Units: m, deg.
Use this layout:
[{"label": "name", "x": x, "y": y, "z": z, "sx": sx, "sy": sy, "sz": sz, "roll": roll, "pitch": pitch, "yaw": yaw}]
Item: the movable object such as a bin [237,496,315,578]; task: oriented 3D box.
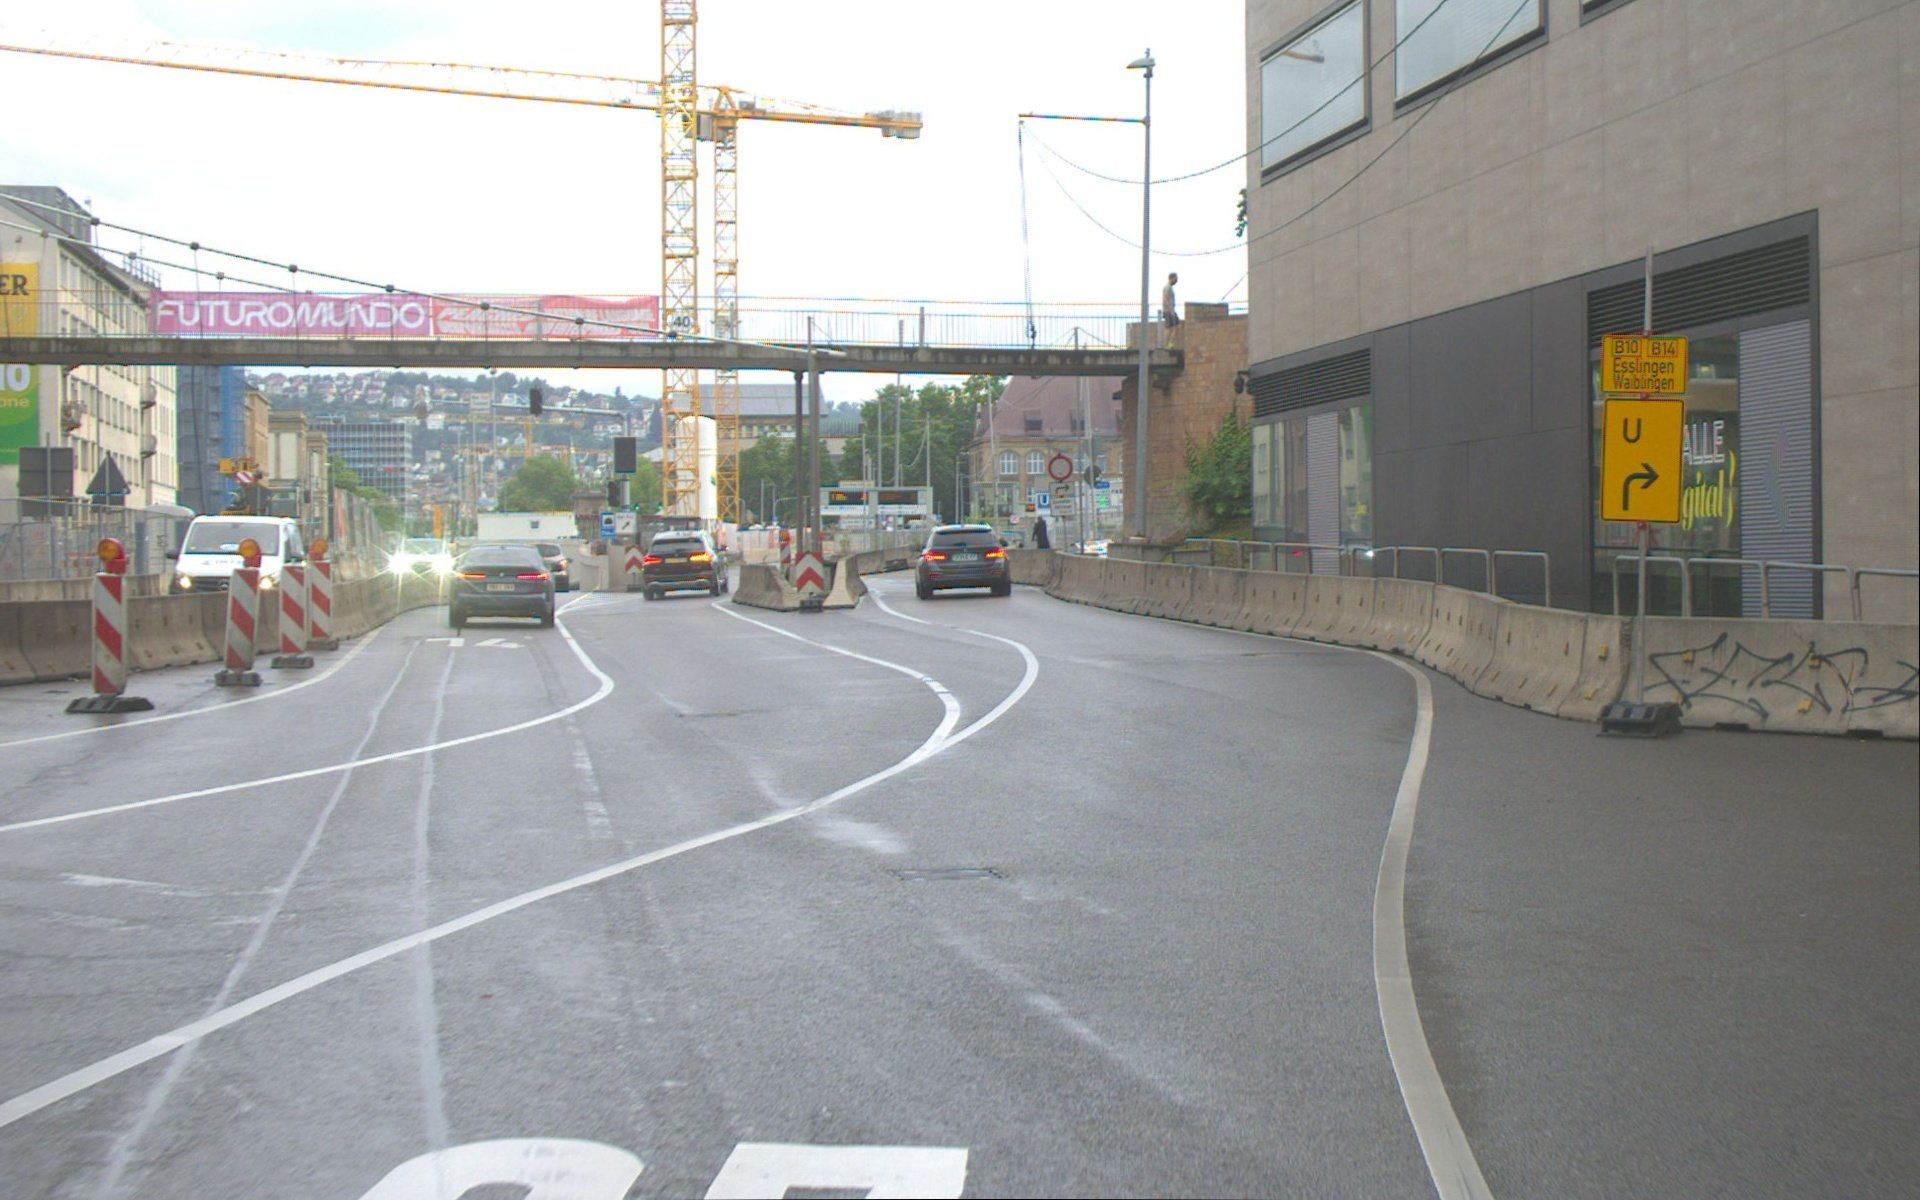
[{"label": "movable object such as a bin", "x": -20.460, "y": -1.891, "z": 102.987, "sx": 2.026, "sy": 2.269, "sz": 4.294, "roll": -4, "pitch": 2, "yaw": -10}]

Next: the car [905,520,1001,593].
[{"label": "car", "x": -0.109, "y": -0.896, "z": 69.225, "sx": 1.863, "sy": 1.428, "sz": 4.656, "roll": 0, "pitch": 1, "yaw": 1}]

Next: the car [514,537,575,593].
[{"label": "car", "x": -13.420, "y": -1.143, "z": 110.889, "sx": 1.862, "sy": 1.759, "sz": 4.657, "roll": 0, "pitch": 1, "yaw": -8}]

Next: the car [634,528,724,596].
[{"label": "car", "x": -6.997, "y": -0.973, "z": 86.044, "sx": 1.863, "sy": 1.655, "sz": 4.656, "roll": 0, "pitch": 1, "yaw": 0}]

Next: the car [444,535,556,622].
[{"label": "car", "x": -7.997, "y": -0.411, "z": 60.044, "sx": 1.862, "sy": 1.438, "sz": 4.657, "roll": 0, "pitch": 1, "yaw": -7}]

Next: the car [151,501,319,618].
[{"label": "car", "x": -12.144, "y": -0.712, "z": 57.866, "sx": 1.993, "sy": 1.878, "sz": 4.871, "roll": 0, "pitch": 1, "yaw": -3}]

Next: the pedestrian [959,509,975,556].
[{"label": "pedestrian", "x": 0.294, "y": -2.892, "z": 146.743, "sx": 0.626, "sy": 2.007, "sz": 0.663, "roll": 0, "pitch": 1, "yaw": 5}]

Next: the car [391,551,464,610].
[{"label": "car", "x": -16.279, "y": -0.618, "z": 105.238, "sx": 1.993, "sy": 1.617, "sz": 4.703, "roll": -1, "pitch": 2, "yaw": -6}]
